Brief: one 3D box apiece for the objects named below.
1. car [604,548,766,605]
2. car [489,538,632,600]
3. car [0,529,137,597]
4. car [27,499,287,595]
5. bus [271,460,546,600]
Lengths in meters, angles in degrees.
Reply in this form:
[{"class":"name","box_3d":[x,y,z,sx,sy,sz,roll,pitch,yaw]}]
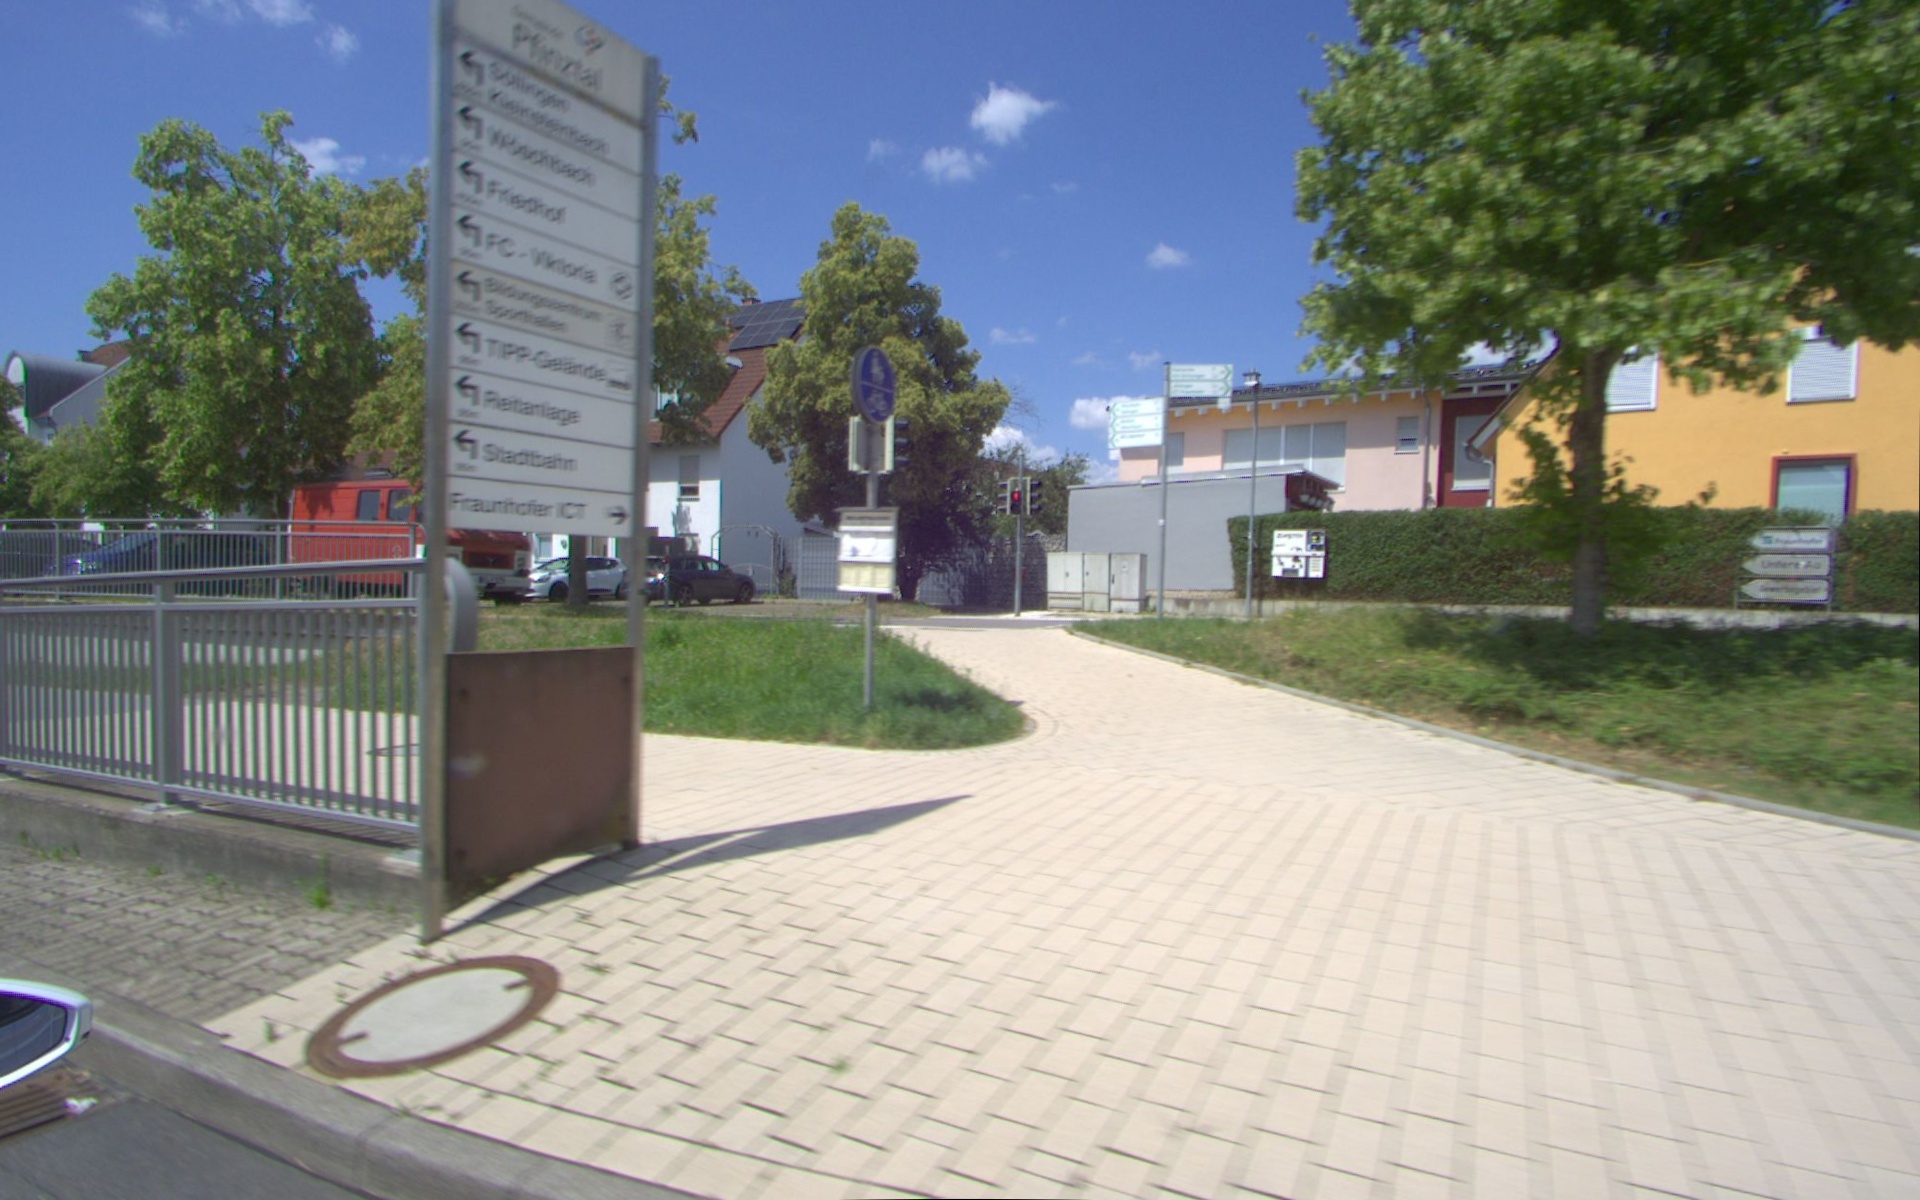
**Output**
[{"class":"car","box_3d":[-7.918,-0.678,29.215,1.969,1.500,4.477,2,2,30]},{"class":"car","box_3d":[-12.559,-0.909,31.703,1.835,1.650,3.985,-1,-2,28]},{"class":"car","box_3d":[-21.758,-0.856,23.096,1.699,1.447,3.980,2,0,32]},{"class":"car","box_3d":[-17.053,-1.035,21.509,1.831,1.650,3.993,-1,-2,20]},{"class":"bus","box_3d":[-10.751,-1.330,19.460,5.279,2.399,2.186,3,3,29]}]
